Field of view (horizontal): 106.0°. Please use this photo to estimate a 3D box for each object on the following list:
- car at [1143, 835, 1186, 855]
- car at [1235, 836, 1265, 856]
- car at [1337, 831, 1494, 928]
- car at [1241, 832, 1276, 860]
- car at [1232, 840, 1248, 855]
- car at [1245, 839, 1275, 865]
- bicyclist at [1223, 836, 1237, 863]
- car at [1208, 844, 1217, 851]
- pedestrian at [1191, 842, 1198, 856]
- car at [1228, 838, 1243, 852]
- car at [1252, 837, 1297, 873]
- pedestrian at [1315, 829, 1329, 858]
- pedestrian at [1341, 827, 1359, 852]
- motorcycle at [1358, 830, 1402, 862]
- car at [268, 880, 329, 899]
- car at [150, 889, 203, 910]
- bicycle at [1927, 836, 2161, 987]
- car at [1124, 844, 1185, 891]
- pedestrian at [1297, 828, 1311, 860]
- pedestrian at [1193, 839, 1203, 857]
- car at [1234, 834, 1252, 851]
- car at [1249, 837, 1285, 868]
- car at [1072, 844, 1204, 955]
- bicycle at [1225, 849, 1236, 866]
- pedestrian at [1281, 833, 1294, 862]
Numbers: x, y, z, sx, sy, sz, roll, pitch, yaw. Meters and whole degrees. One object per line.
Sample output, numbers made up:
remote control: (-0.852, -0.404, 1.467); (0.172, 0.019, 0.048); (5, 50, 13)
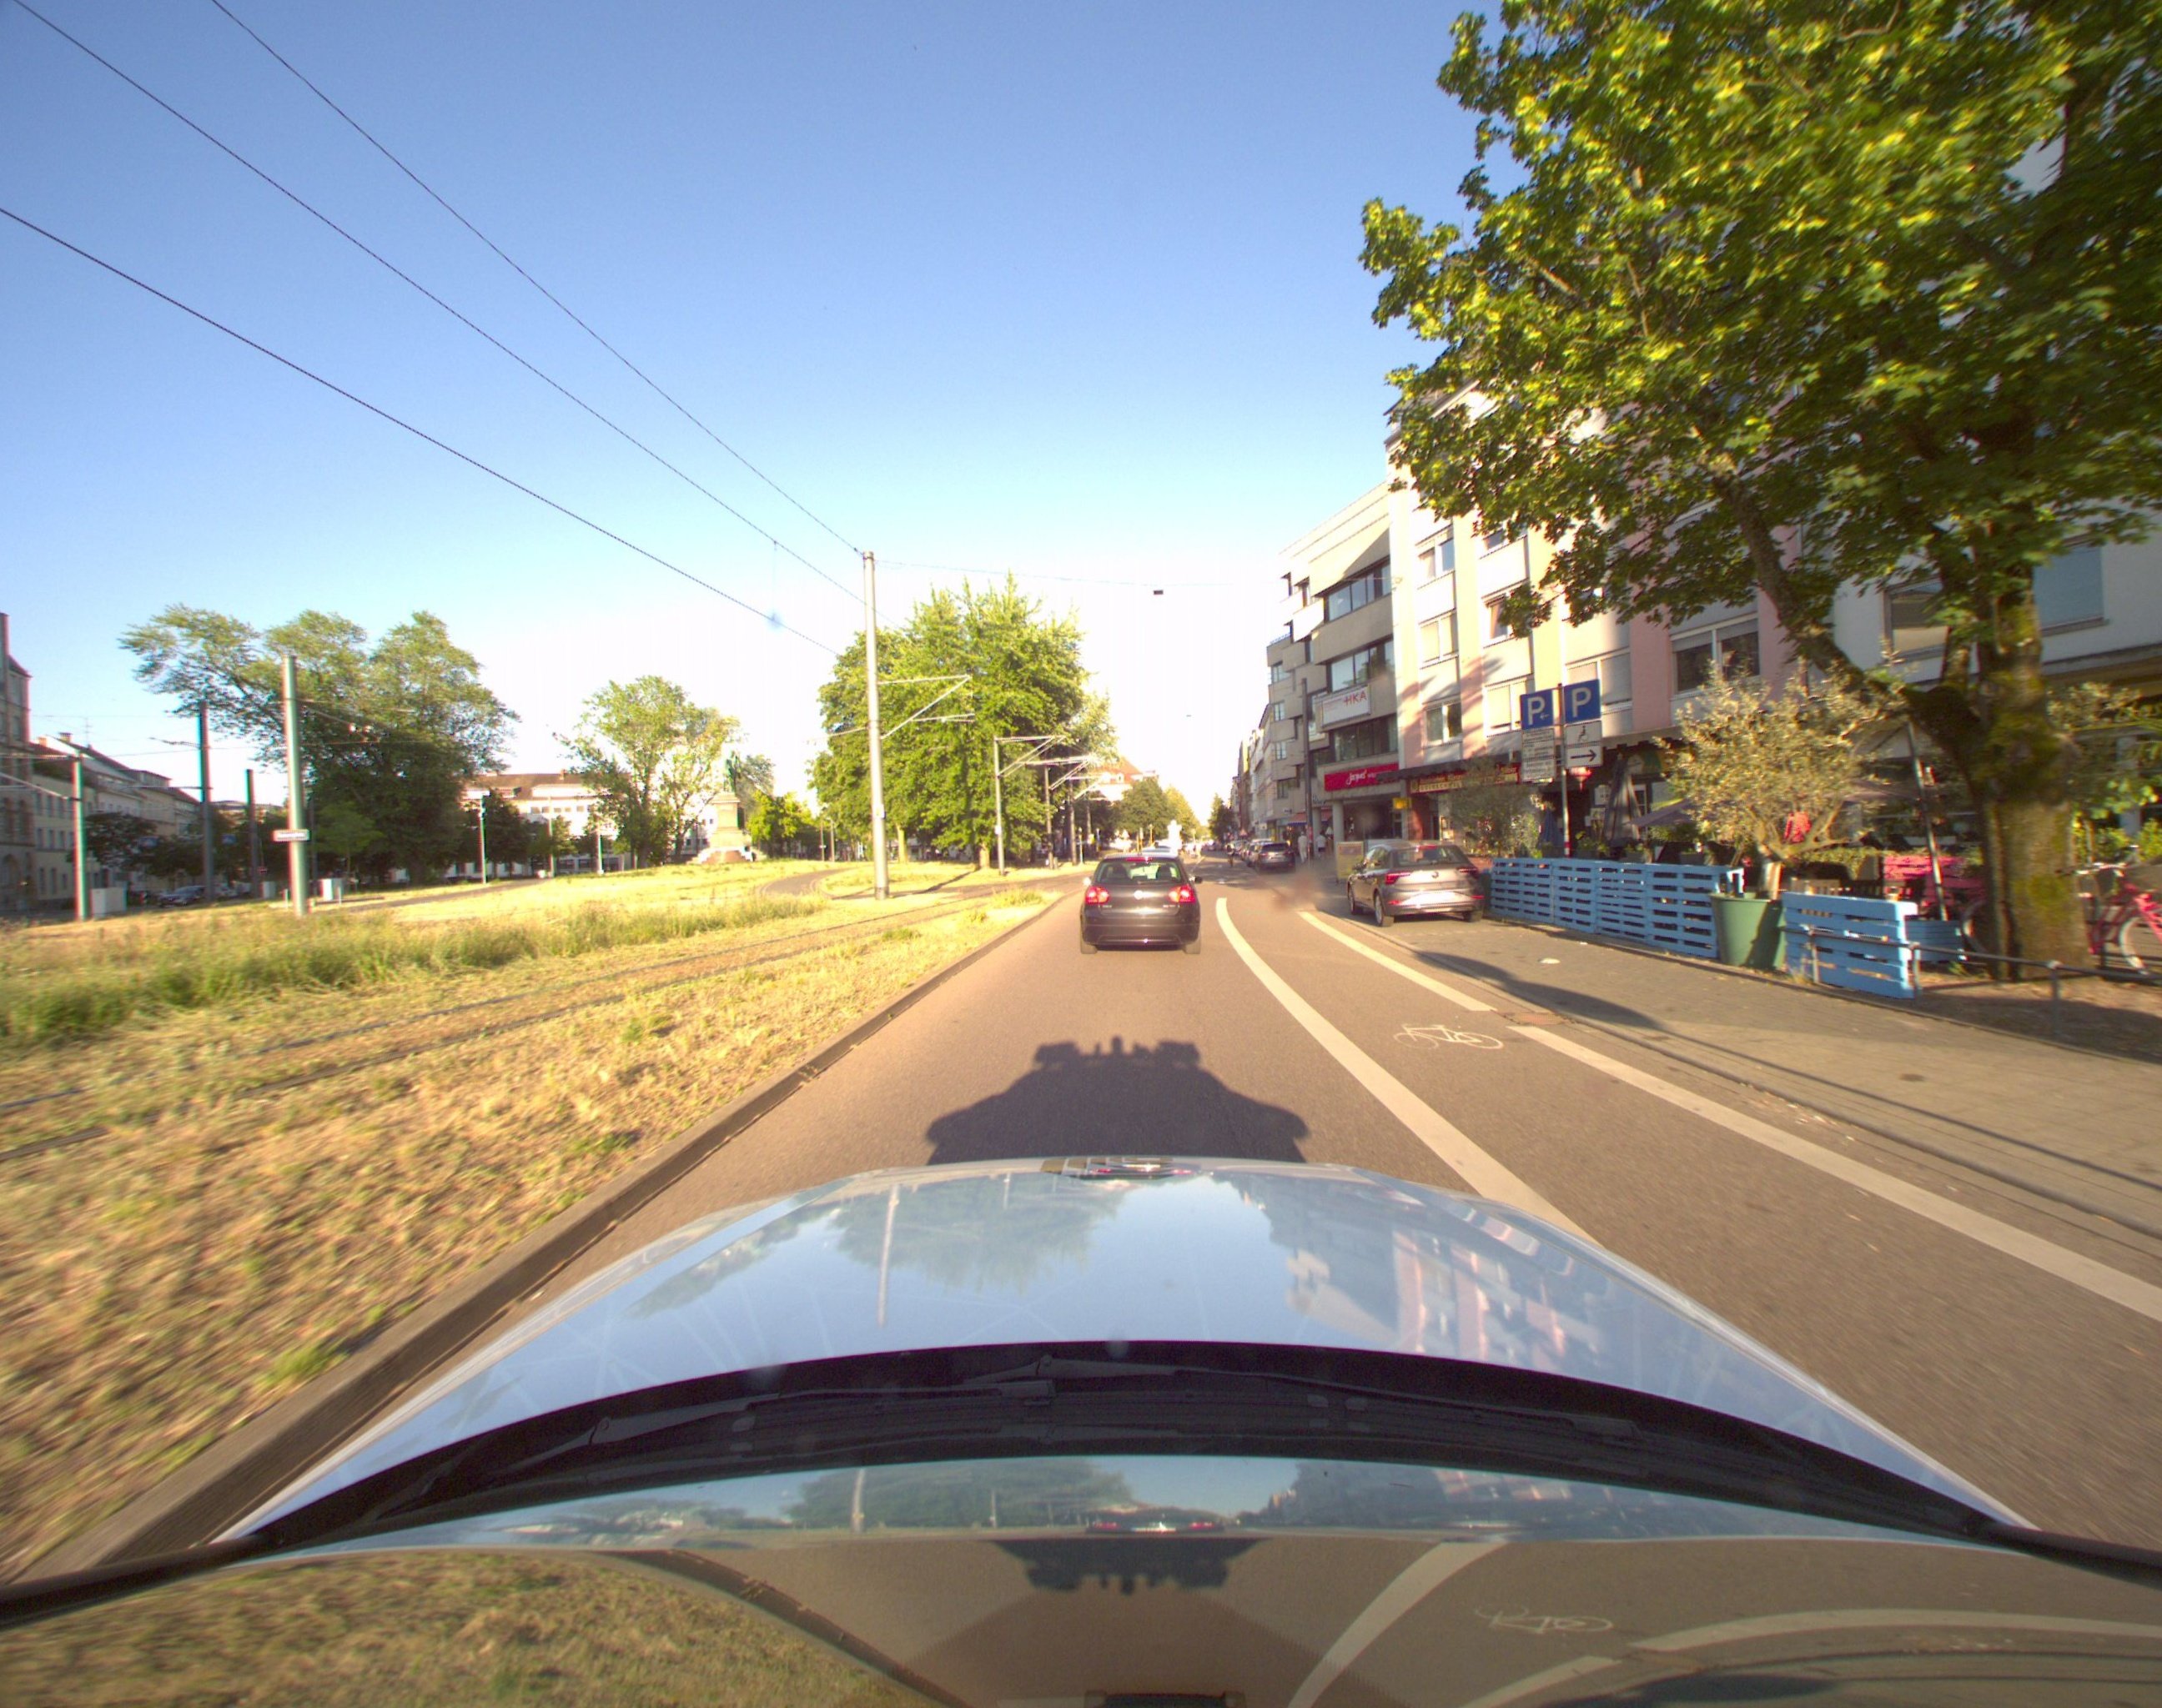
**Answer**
car: (11.448, -1.210, 111.711); (5.526, 2.594, 2.142); (-2, 0, -18)
car: (13.422, -0.608, 64.819); (1.655, 1.441, 3.826); (-5, 0, 3)
car: (6.108, 0.397, 15.341); (1.718, 1.472, 3.908); (-5, 0, 8)
car: (12.378, -0.555, 57.118); (1.857, 1.713, 4.514); (-5, 0, 7)
car: (19.083, -0.783, 97.875); (1.724, 1.617, 3.926); (-4, 0, 9)
car: (11.224, -0.176, 51.296); (1.651, 1.441, 3.867); (-5, 0, 11)
bicyclist: (9.197, -0.265, 50.365); (0.772, 1.618, 1.027); (-1, 0, 9)
car: (29.822, -1.534, 185.149); (1.895, 1.552, 4.010); (-2, 1, 8)
pedestrian: (12.645, -0.593, 90.712); (0.732, 1.555, 0.633); (-2, 0, 5)
car: (20.958, -1.216, 110.524); (1.913, 1.841, 4.029); (-4, 0, 10)
car: (9.601, 0.028, 40.659); (1.771, 1.556, 4.246); (-5, 0, 10)
pedestrian: (14.603, -0.641, 49.405); (0.618, 1.740, 0.663); (-5, 0, 10)
pedestrian: (18.866, -1.000, 57.113); (0.983, 1.673, 0.643); (-3, 0, 10)
motorcycle: (14.049, -0.375, 38.303); (1.779, 1.331, 0.582); (-4, 0, -4)
car: (-65.794, 2.956, 68.527); (1.542, 1.354, 3.527); (-1, 1, 6)
car: (-63.780, 3.173, 57.470); (1.577, 1.258, 3.690); (-2, 1, -33)
bicycle: (8.401, 0.433, 6.896); (0.421, 1.157, 1.748); (-2, 1, -13)
car: (2.696, 0.429, 29.028); (1.854, 1.441, 4.207); (-2, 1, 8)
pedestrian: (13.499, -0.600, 49.352); (0.618, 1.858, 0.663); (-5, 0, 10)
pedestrian: (11.856, -0.609, 82.621); (0.856, 1.706, 0.942); (-1, 0, 3)
car: (18.448, -1.292, 92.889); (1.724, 1.800, 3.926); (-4, 0, 9)
car: (10.382, -0.102, 45.643); (1.598, 1.556, 3.618); (-5, 0, 8)
car: (1.040, 0.599, 13.037); (1.738, 1.461, 4.112); (-2, 0, 8)
bicycle: (9.248, 0.196, 50.442); (0.575, 0.987, 1.940); (-1, 0, 9)
pedestrian: (12.627, -0.402, 49.781); (0.575, 1.759, 0.663); (-5, 0, 10)
